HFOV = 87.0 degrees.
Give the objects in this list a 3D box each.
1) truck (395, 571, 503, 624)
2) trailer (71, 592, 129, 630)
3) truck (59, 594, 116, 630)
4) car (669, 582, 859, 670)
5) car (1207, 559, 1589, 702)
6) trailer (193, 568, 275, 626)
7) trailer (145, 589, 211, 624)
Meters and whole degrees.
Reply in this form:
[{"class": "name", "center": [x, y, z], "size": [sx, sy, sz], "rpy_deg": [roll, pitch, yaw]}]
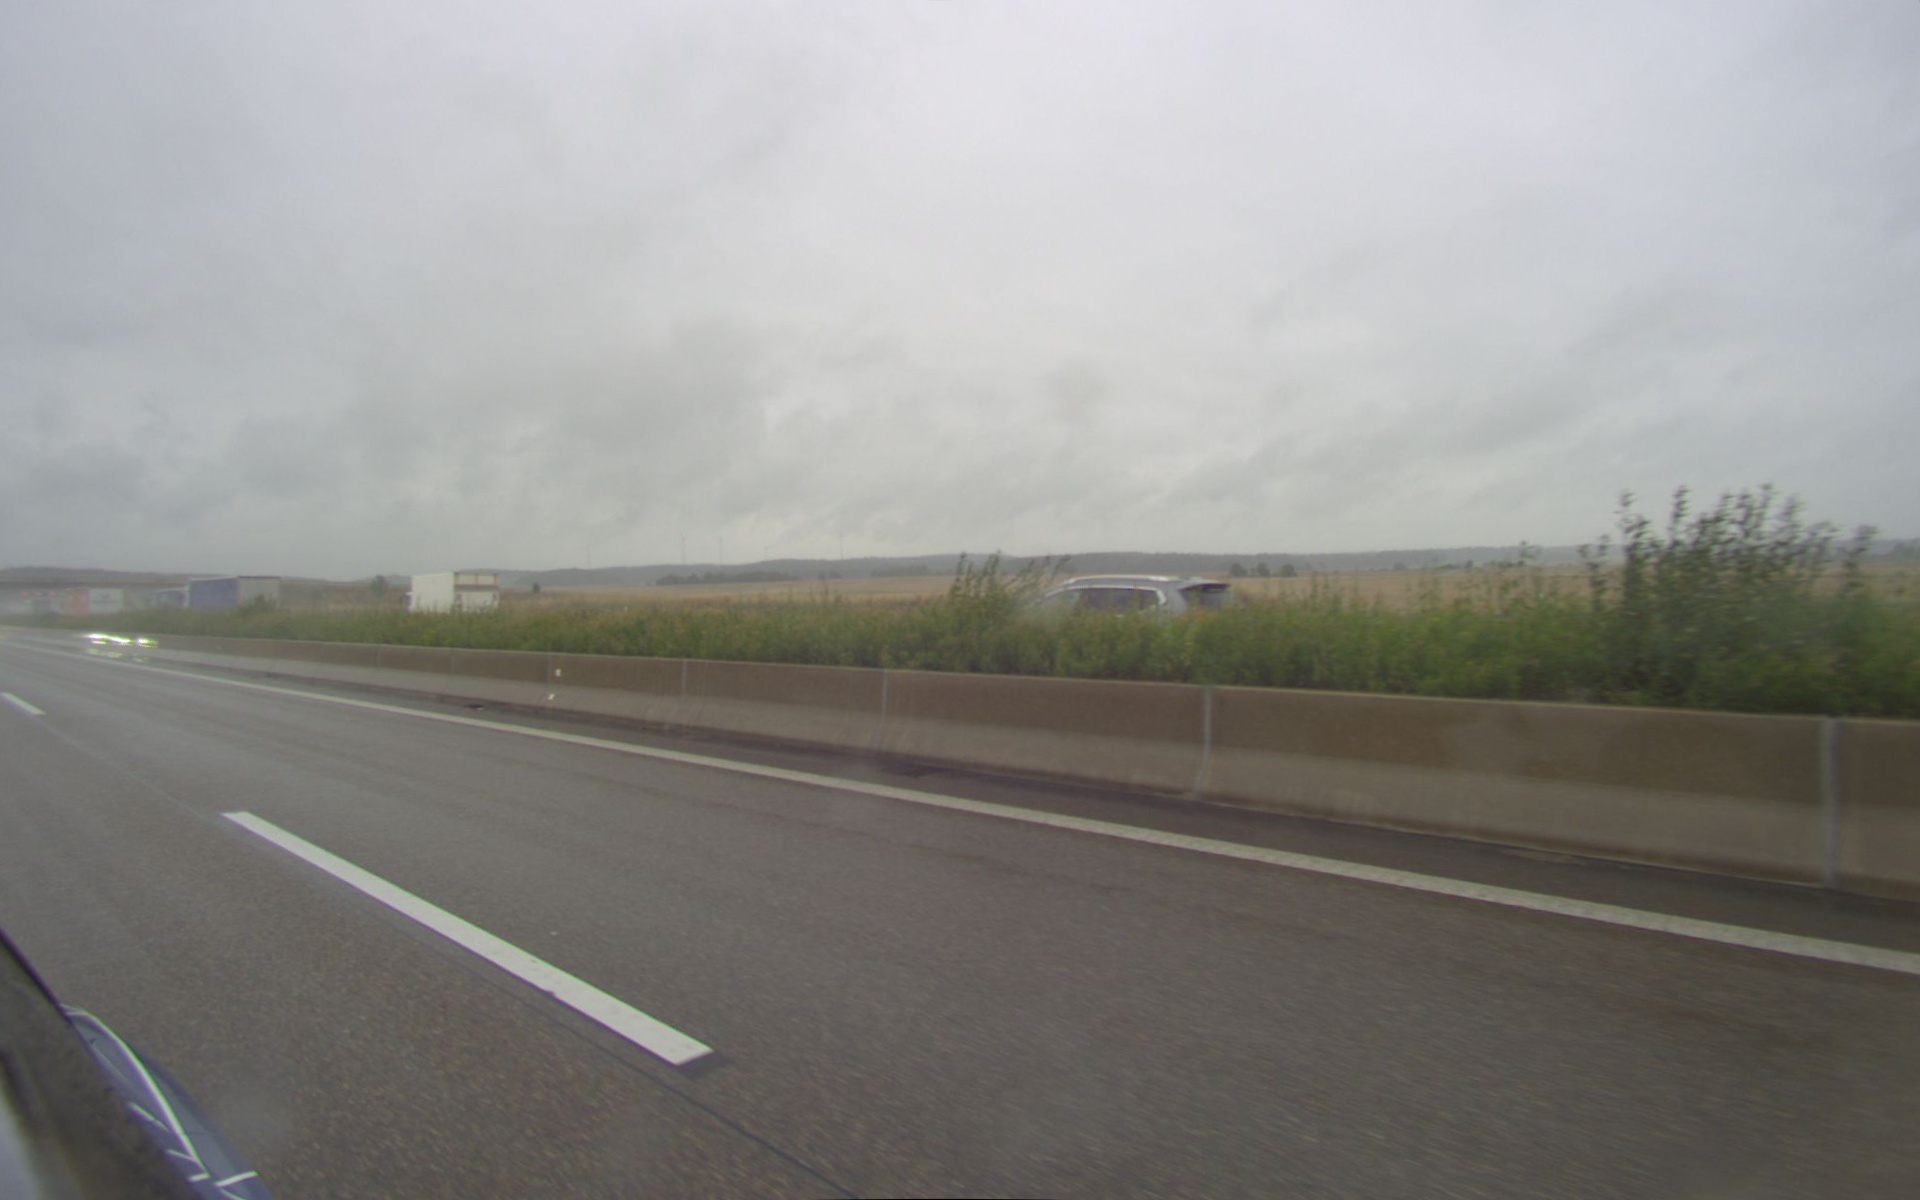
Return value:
[{"class": "truck", "center": [-30.445, -0.129, 60.125], "size": [8.276, 2.930, 2.791], "rpy_deg": [-1, 0, 41]}, {"class": "trailer", "center": [-82.896, 1.112, 97.450], "size": [9.442, 3.483, 3.222], "rpy_deg": [-1, -1, 43]}, {"class": "truck", "center": [-88.546, 1.257, 102.668], "size": [10.129, 3.467, 3.230], "rpy_deg": [-1, -1, 43]}, {"class": "car", "center": [-3.436, 0.420, 17.500], "size": [3.292, 1.364, 1.542], "rpy_deg": [-1, 0, 42]}, {"class": "car", "center": [5.329, 0.343, 12.600], "size": [3.998, 1.497, 1.757], "rpy_deg": [-1, 0, 41]}, {"class": "trailer", "center": [-54.023, -0.165, 75.105], "size": [13.493, 3.969, 2.409], "rpy_deg": [-1, 0, 43]}, {"class": "trailer", "center": [-82.719, 0.788, 106.873], "size": [14.231, 3.444, 3.081], "rpy_deg": [-1, -1, 42]}]
